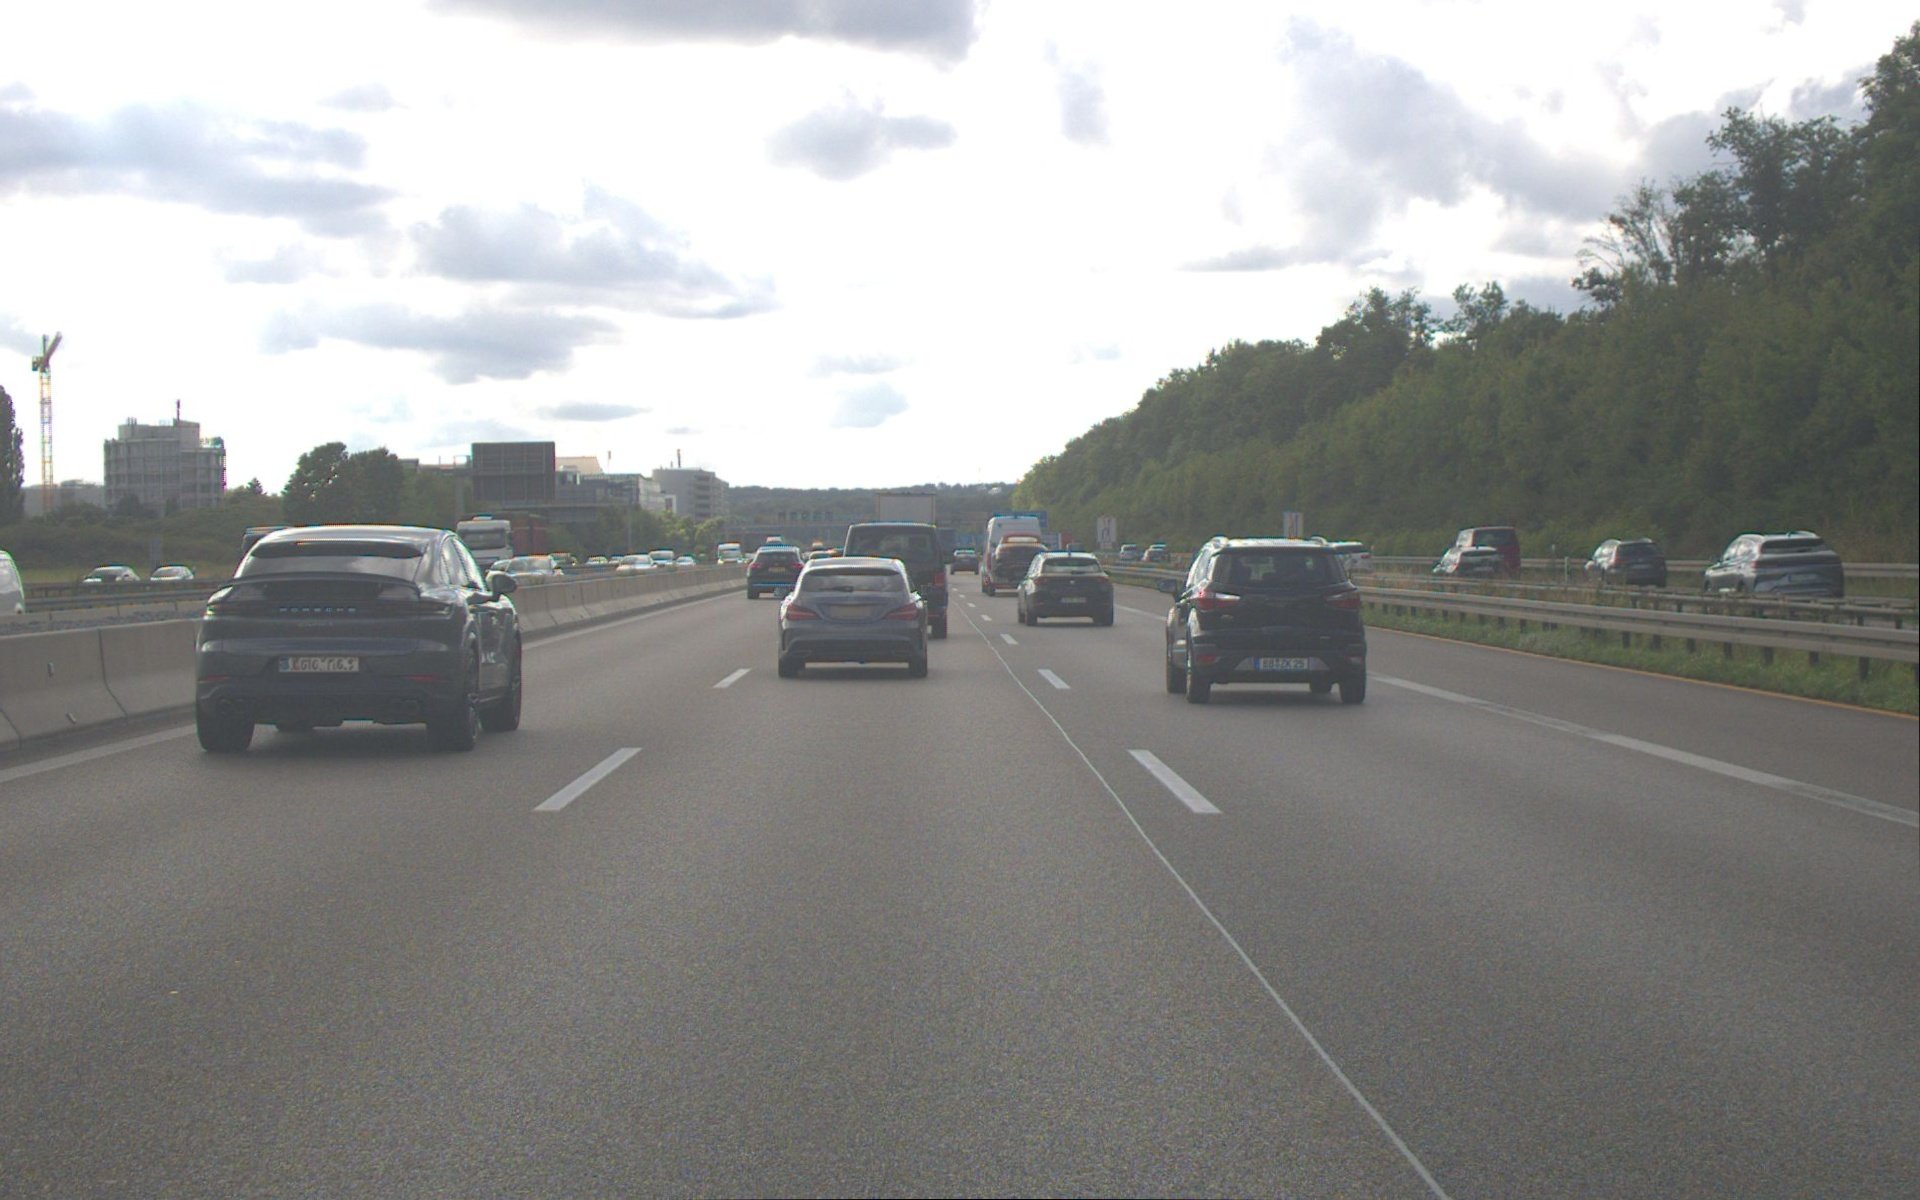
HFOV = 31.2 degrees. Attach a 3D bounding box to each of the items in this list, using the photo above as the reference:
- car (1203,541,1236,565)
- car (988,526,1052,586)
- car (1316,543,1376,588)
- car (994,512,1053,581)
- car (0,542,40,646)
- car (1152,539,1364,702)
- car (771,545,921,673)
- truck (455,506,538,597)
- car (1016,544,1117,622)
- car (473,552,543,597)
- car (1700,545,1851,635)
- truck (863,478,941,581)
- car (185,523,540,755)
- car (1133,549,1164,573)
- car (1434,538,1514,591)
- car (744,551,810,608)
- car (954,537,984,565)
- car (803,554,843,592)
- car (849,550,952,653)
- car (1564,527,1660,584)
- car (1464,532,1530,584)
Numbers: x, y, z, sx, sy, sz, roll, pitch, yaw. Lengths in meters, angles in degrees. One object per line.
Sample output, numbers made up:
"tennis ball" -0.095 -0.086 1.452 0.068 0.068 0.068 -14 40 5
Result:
"car" 17.229 -3.119 228.160 1.752 1.511 4.191 0 1 -2
"car" 1.933 -1.430 111.826 1.913 1.912 4.031 0 1 -1
"car" 14.899 -1.338 132.792 1.752 1.689 4.190 0 1 -1
"car" 2.173 -1.848 118.659 1.873 2.349 4.282 0 1 -1
"car" -17.383 -0.100 59.397 1.733 1.788 5.125 -1 1 -2
"car" 2.980 0.163 35.103 1.697 1.559 4.114 0 1 -2
"car" -1.354 0.066 41.787 1.720 1.474 4.392 0 1 -1
"truck" -22.440 -2.359 166.835 3.046 4.274 8.589 -1 1 -1
"car" 2.119 -0.366 69.208 1.832 1.516 4.225 0 1 -1
"car" -14.634 -0.828 111.405 1.757 1.398 4.074 -1 1 0
"car" 16.060 -0.228 67.888 1.846 1.644 4.306 -2 1 -1
"truck" -2.561 -3.087 151.659 3.263 4.360 11.027 1 1 -1
"car" -4.528 0.225 26.891 1.912 1.630 5.501 0 1 -1
"car" 12.718 -2.646 231.652 1.729 1.528 4.453 -1 1 -1
"car" 15.276 -1.066 102.252 1.595 1.540 4.191 0 1 -2
"car" -5.580 -0.637 105.159 1.873 1.692 4.072 0 1 -1
"car" 0.567 -3.044 213.774 1.752 1.689 4.190 0 1 -1
"car" -5.968 -1.185 149.846 1.697 1.605 4.114 0 1 -2
"car" -1.032 -0.005 59.622 1.720 1.718 4.392 0 1 -1
"car" 18.703 -1.291 98.838 1.728 1.540 4.306 -2 1 -2
"car" 18.941 -1.489 121.364 1.595 1.798 3.825 0 1 -2
